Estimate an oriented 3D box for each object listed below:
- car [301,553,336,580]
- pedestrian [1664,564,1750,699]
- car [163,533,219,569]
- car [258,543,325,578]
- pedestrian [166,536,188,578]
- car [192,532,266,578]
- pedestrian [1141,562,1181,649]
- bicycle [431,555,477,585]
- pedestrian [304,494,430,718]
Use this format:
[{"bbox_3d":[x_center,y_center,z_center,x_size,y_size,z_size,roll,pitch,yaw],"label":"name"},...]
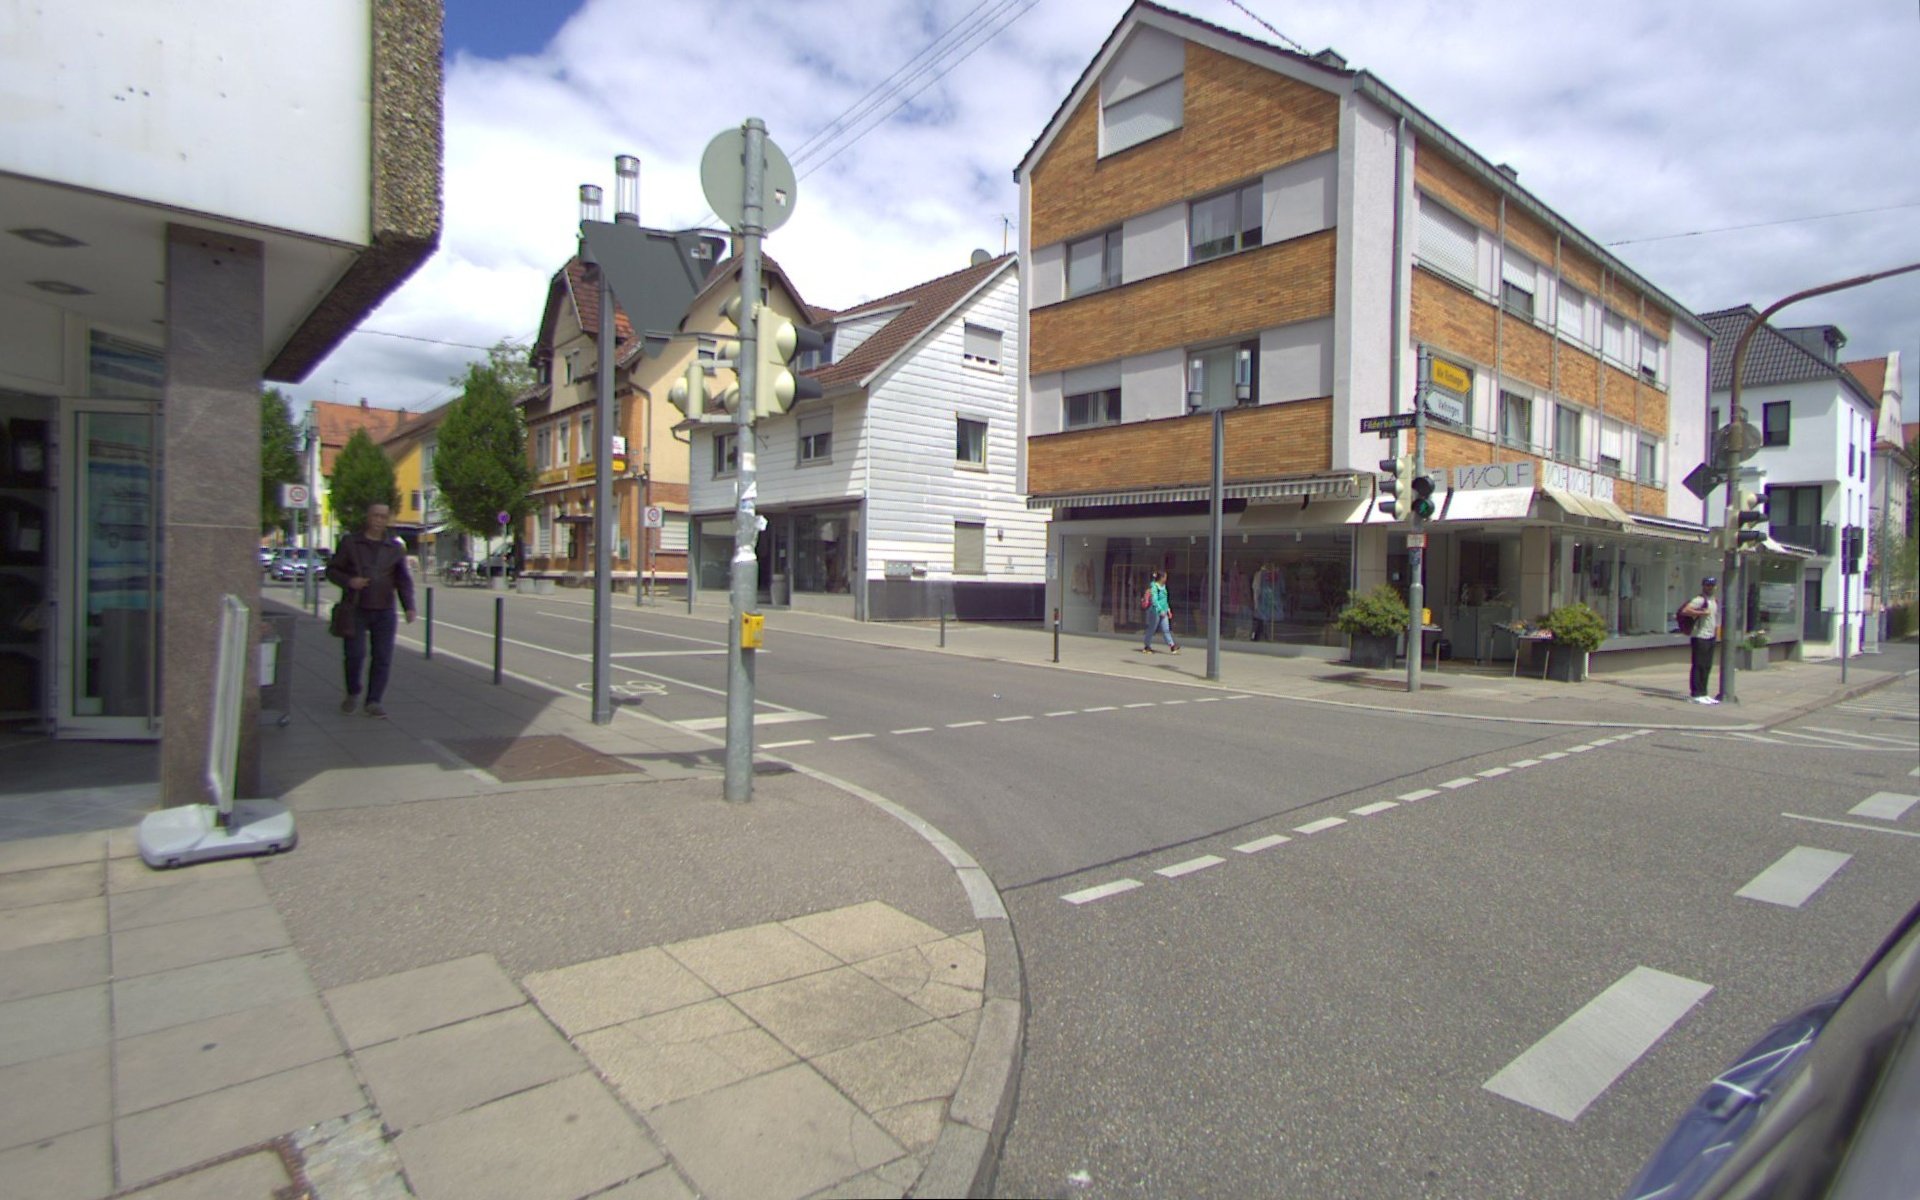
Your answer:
[{"bbox_3d":[-46.180,-2.388,72.774,1.650,1.820,3.811,-1,1,-40],"label":"car"},{"bbox_3d":[10.716,0.433,14.547,0.605,1.836,0.772,5,2,17],"label":"pedestrian"},{"bbox_3d":[-38.772,-2.447,50.987,1.796,1.671,3.989,-1,1,-44],"label":"car"},{"bbox_3d":[-28.933,-1.692,43.738,1.678,1.415,3.989,-1,2,-45],"label":"car"},{"bbox_3d":[-33.004,-1.796,42.633,0.617,1.726,0.572,5,3,39],"label":"pedestrian"},{"bbox_3d":[-28.723,-1.733,39.713,1.796,1.671,3.989,-1,1,-44],"label":"car"},{"bbox_3d":[3.707,0.091,18.645,0.584,1.579,0.523,0,1,33],"label":"pedestrian"},{"bbox_3d":[-21.645,-1.286,43.294,1.686,1.235,0.561,-1,1,-37],"label":"bicycle"},{"bbox_3d":[-4.830,0.030,8.261,0.572,1.726,0.617,4,2,17],"label":"pedestrian"}]
